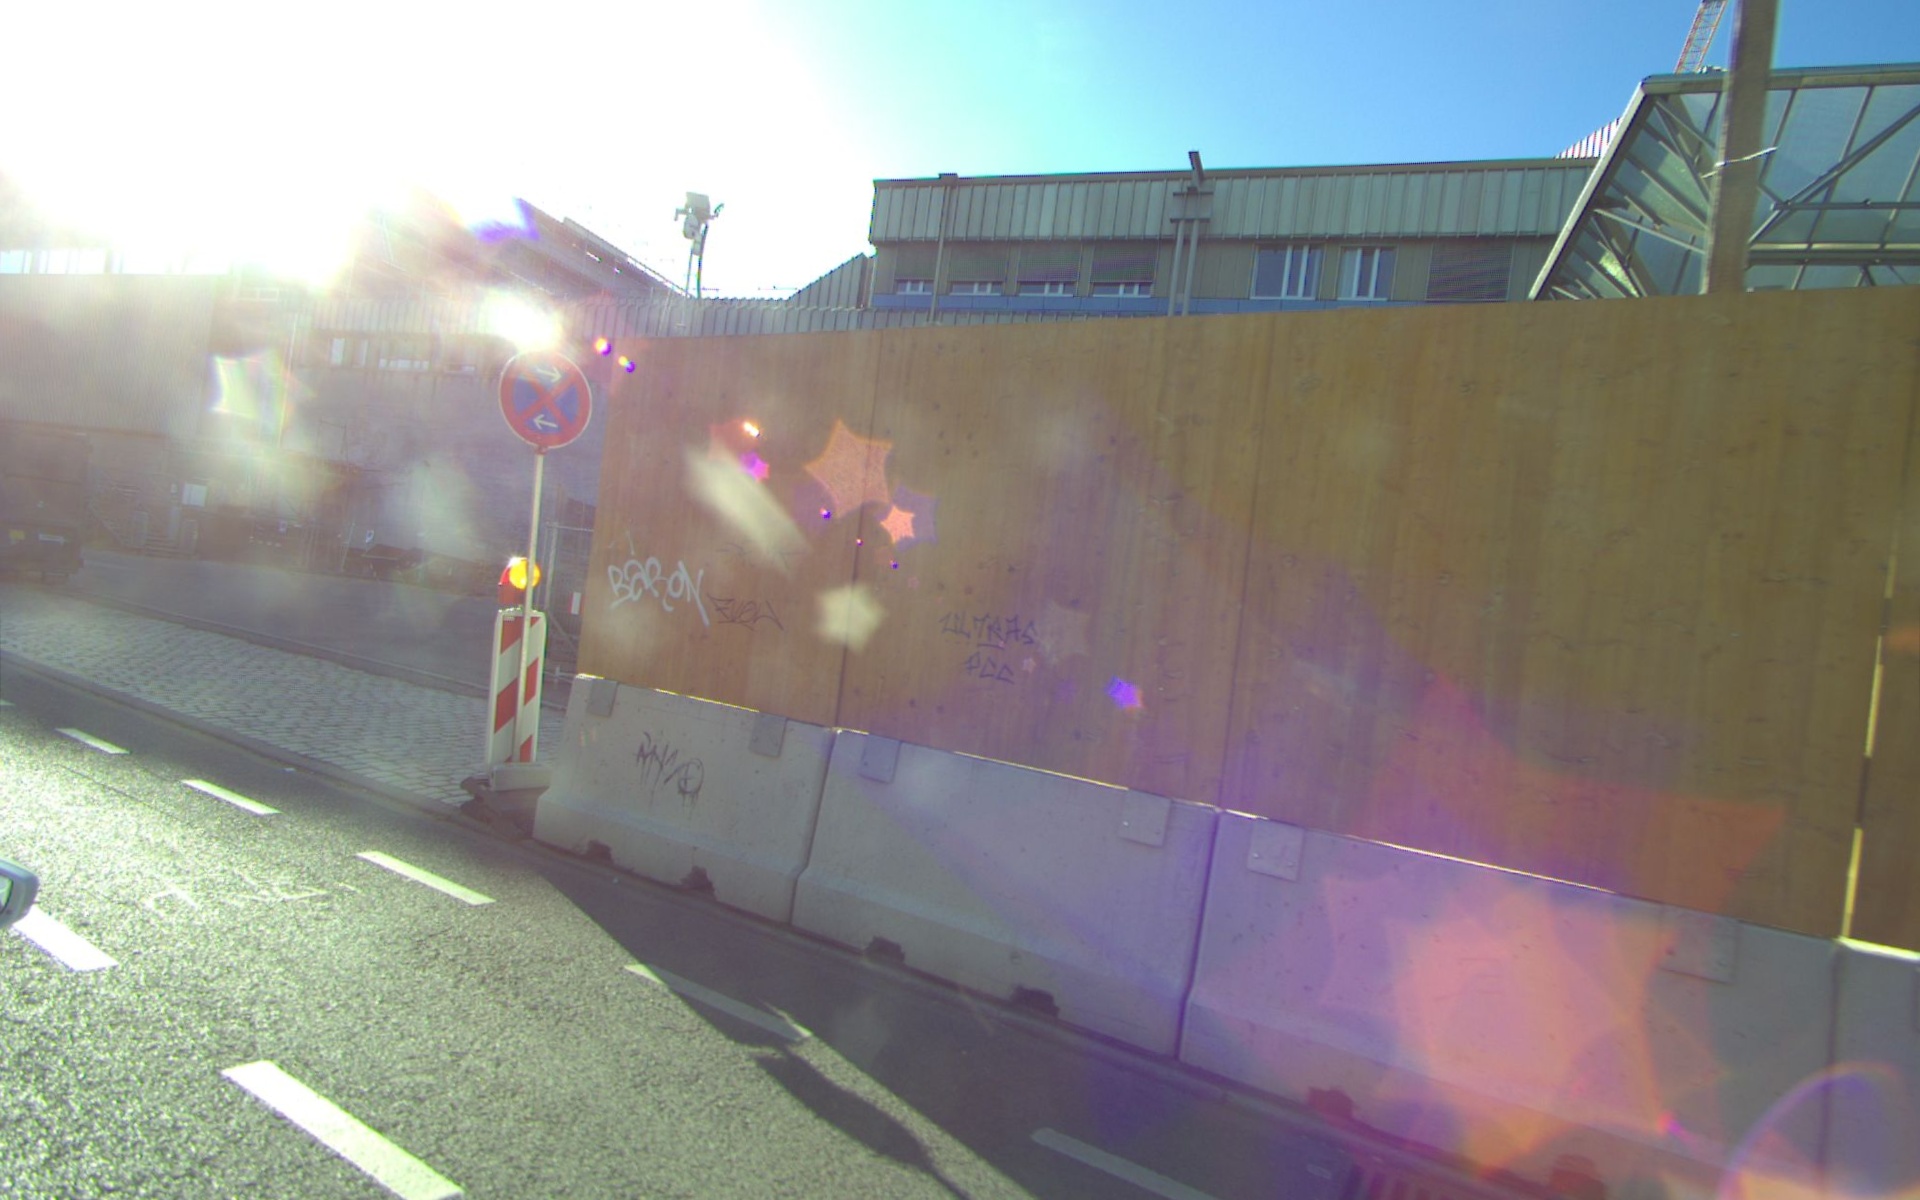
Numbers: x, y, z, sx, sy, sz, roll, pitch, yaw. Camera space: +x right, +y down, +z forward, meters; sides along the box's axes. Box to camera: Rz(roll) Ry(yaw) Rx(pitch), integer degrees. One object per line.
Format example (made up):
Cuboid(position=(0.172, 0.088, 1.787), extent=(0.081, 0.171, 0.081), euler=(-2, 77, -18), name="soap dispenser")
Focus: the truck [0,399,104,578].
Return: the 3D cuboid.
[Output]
Cuboid(position=(-18.520, -2.189, 18.544), extent=(5.415, 2.947, 2.521), euler=(7, 2, 31), name="truck")
